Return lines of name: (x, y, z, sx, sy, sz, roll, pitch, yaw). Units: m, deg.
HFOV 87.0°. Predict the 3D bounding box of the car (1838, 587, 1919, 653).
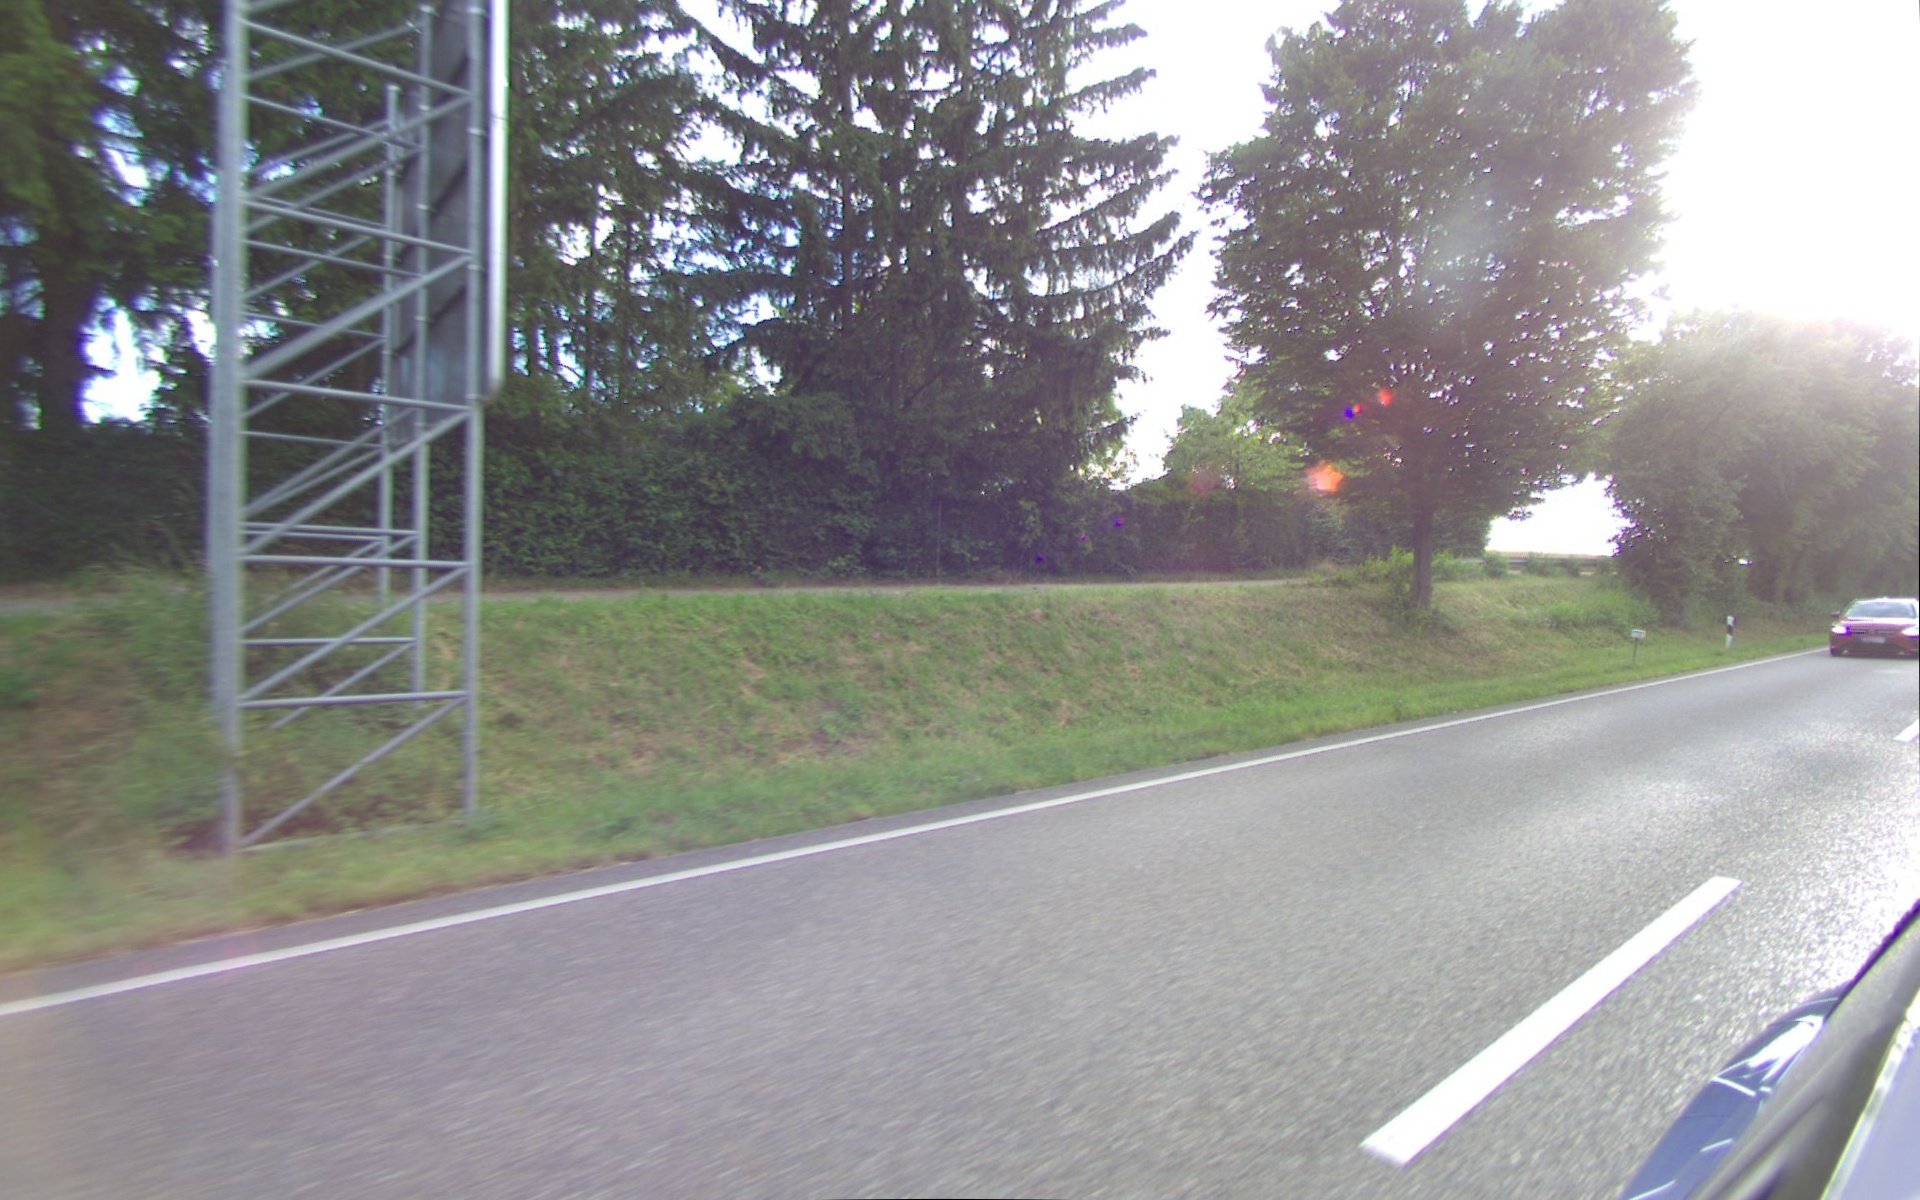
car: (23.206, 0.482, 24.977, 3.661, 1.494, 1.723, 1, 1, -40)
